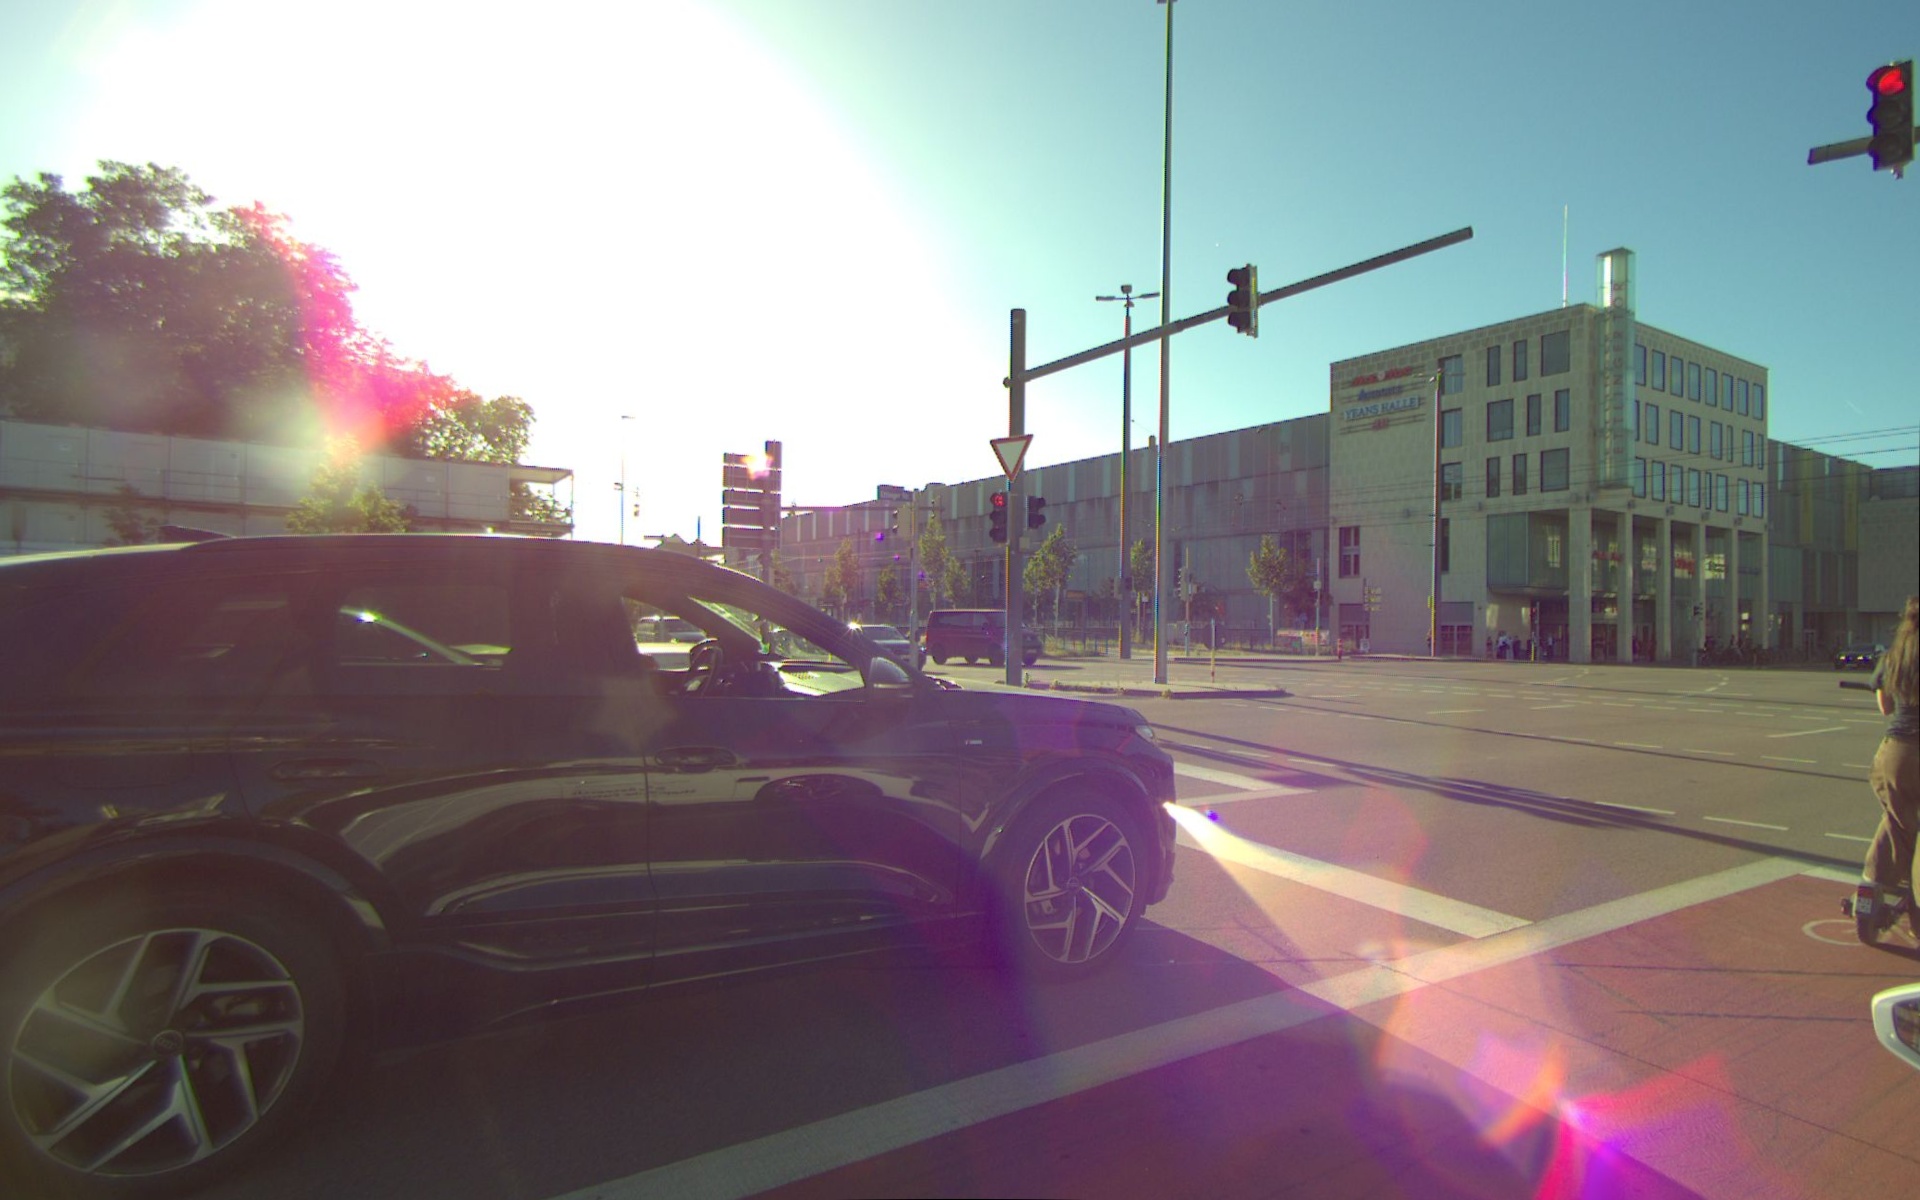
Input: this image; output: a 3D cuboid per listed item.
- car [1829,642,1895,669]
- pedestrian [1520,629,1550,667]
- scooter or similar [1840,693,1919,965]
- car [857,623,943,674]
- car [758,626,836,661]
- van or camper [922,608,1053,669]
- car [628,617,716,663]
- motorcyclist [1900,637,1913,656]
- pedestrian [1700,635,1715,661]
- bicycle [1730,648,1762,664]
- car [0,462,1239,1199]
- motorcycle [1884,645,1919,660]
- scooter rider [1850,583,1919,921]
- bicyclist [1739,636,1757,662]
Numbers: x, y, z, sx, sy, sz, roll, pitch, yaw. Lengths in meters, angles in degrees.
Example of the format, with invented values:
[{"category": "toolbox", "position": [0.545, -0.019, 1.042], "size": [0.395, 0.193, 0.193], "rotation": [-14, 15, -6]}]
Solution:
[{"category": "car", "position": [49.789, 3.036, 55.446], "size": [3.975, 1.375, 1.668], "rotation": [1, -1, -31]}, {"category": "pedestrian", "position": [26.165, 2.192, 45.712], "size": [0.994, 1.697, 0.818], "rotation": [1, -1, -33]}, {"category": "scooter or similar", "position": [4.371, 1.018, 4.681], "size": [0.832, 1.122, 0.303], "rotation": [2, -1, -42]}, {"category": "car", "position": [-1.977, 1.508, 31.961], "size": [1.852, 1.500, 3.966], "rotation": [1, -1, -17]}, {"category": "car", "position": [-7.445, 1.949, 45.739], "size": [1.660, 1.530, 3.824], "rotation": [2, -2, -44]}, {"category": "van or camper", "position": [0.924, 1.331, 36.103], "size": [1.992, 2.040, 4.783], "rotation": [2, -2, -42]}, {"category": "car", "position": [-13.112, 1.756, 45.490], "size": [1.874, 1.947, 4.870], "rotation": [2, -2, -42]}, {"category": "motorcyclist", "position": [70.967, 3.500, 75.331], "size": [0.657, 1.424, 0.623], "rotation": [2, 0, -38]}, {"category": "pedestrian", "position": [48.683, 3.129, 65.452], "size": [0.622, 1.667, 0.589], "rotation": [1, -1, -30]}, {"category": "bicycle", "position": [45.335, 3.231, 57.919], "size": [2.191, 0.915, 0.633], "rotation": [1, -1, -29]}, {"category": "car", "position": [-1.299, 0.602, 4.031], "size": [4.614, 1.729, 2.153], "rotation": [1, -1, -33]}, {"category": "motorcycle", "position": [70.888, 3.952, 75.032], "size": [1.106, 1.006, 2.582], "rotation": [2, 0, -38]}, {"category": "scooter rider", "position": [4.601, 0.700, 4.726], "size": [0.445, 1.550, 0.548], "rotation": [1, -1, -38]}, {"category": "bicyclist", "position": [45.559, 2.836, 58.055], "size": [0.581, 1.467, 0.623], "rotation": [1, -1, -28]}]
